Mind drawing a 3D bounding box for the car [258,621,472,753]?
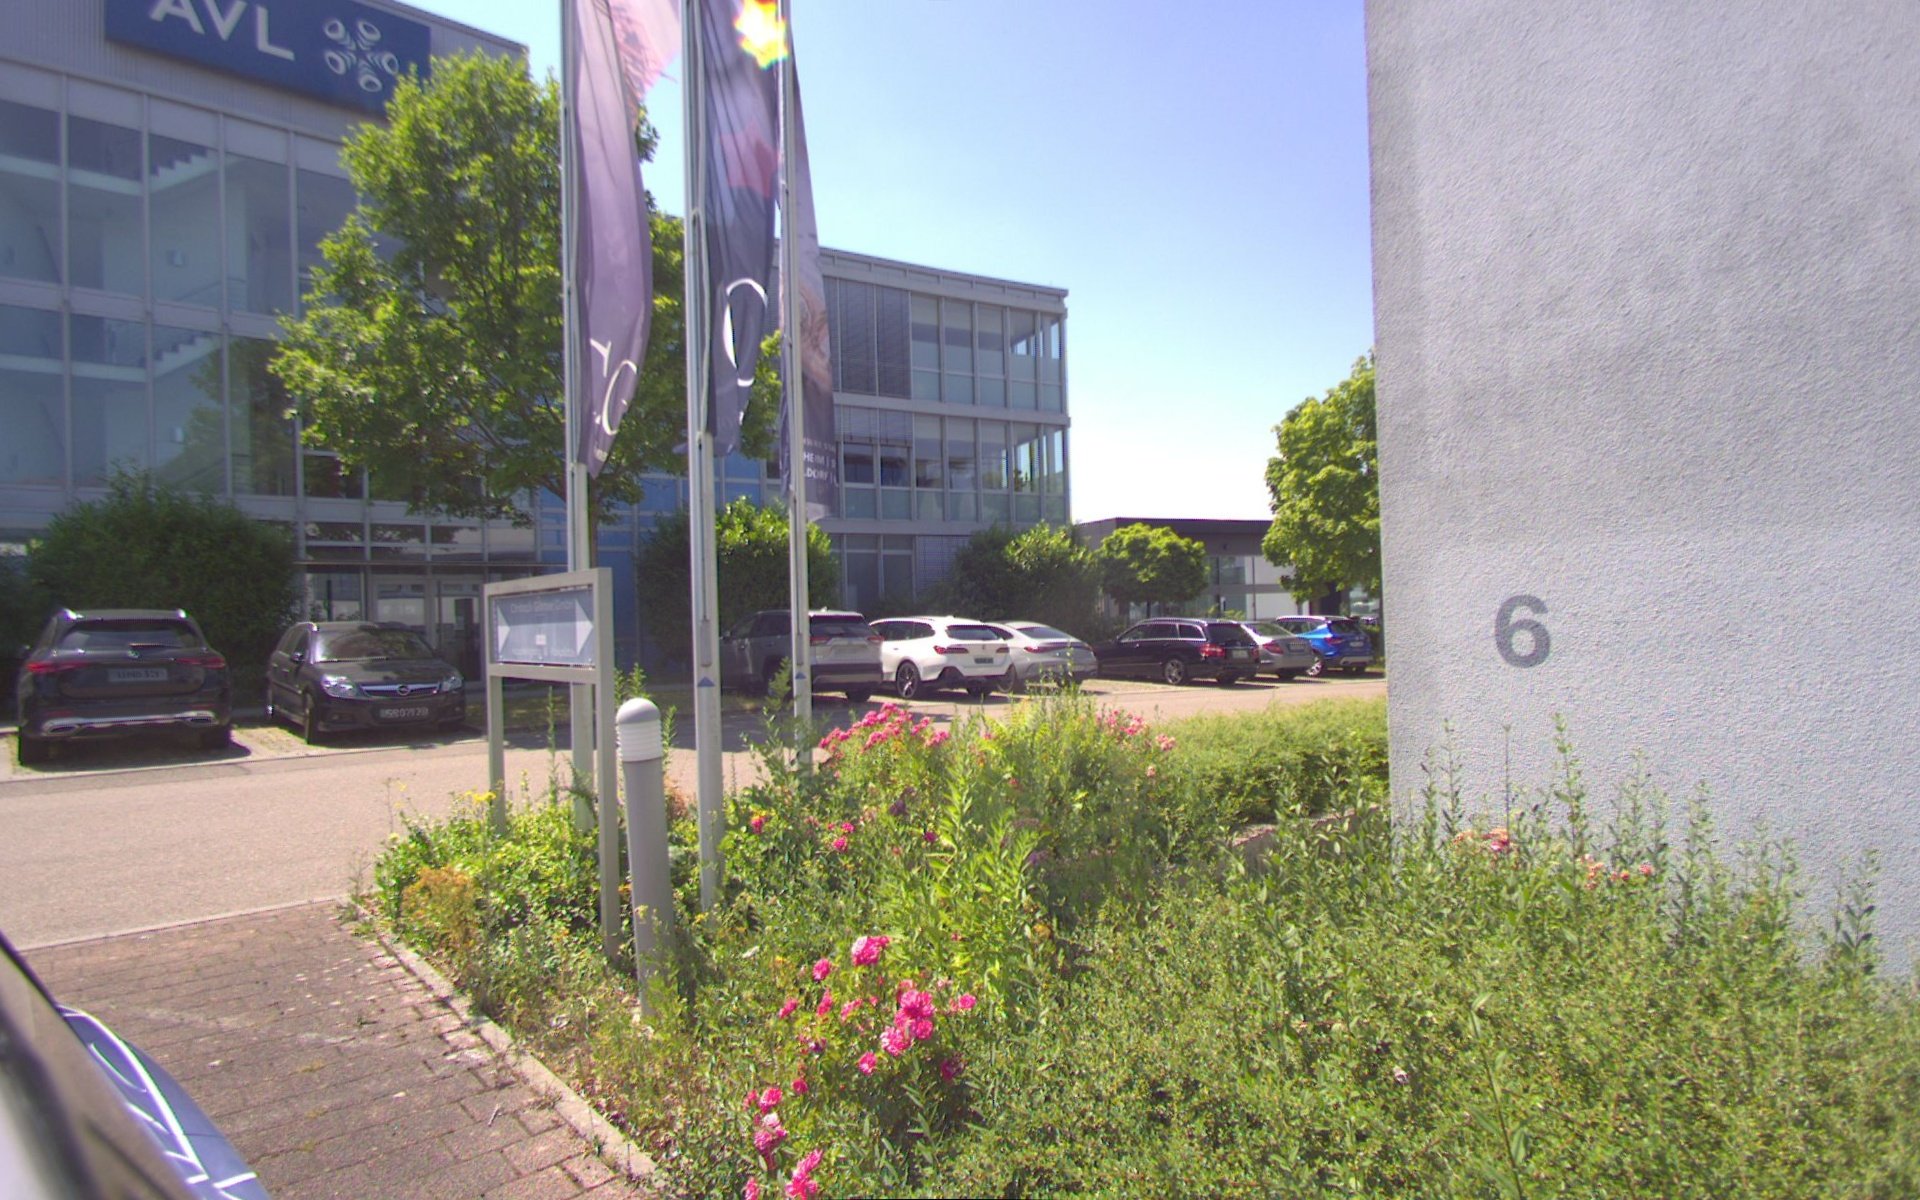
[{"bbox_3d":[-8.246,1.052,13.827,1.704,1.495,4.402,0,-1,-42],"label":"car"}]

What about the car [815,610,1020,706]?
[{"bbox_3d":[-0.928,1.050,19.620,1.805,1.650,4.178,1,-2,-40],"label":"car"}]

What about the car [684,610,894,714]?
[{"bbox_3d":[-3.192,1.035,18.309,1.805,1.650,4.176,1,-2,-42],"label":"car"}]

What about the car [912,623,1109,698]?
[{"bbox_3d":[0.959,1.188,21.199,1.725,1.411,4.178,1,-2,-40],"label":"car"}]

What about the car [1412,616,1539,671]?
[{"bbox_3d":[14.957,1.223,29.502,1.522,1.435,3.009,0,0,-23],"label":"car"}]

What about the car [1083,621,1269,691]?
[{"bbox_3d":[4.893,1.229,23.461,1.723,1.435,4.182,1,-1,-34],"label":"car"}]

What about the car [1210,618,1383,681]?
[{"bbox_3d":[8.749,1.238,26.660,1.723,1.435,4.183,0,0,-32],"label":"car"}]

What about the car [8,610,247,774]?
[{"bbox_3d":[-9.984,0.945,12.033,1.911,1.615,3.863,1,-2,-43],"label":"car"}]

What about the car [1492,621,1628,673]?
[{"bbox_3d":[17.489,1.331,29.627,1.522,1.435,3.099,0,-1,-23],"label":"car"}]

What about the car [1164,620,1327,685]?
[{"bbox_3d":[6.981,1.241,25.189,1.722,1.435,4.185,0,-1,-21],"label":"car"}]
